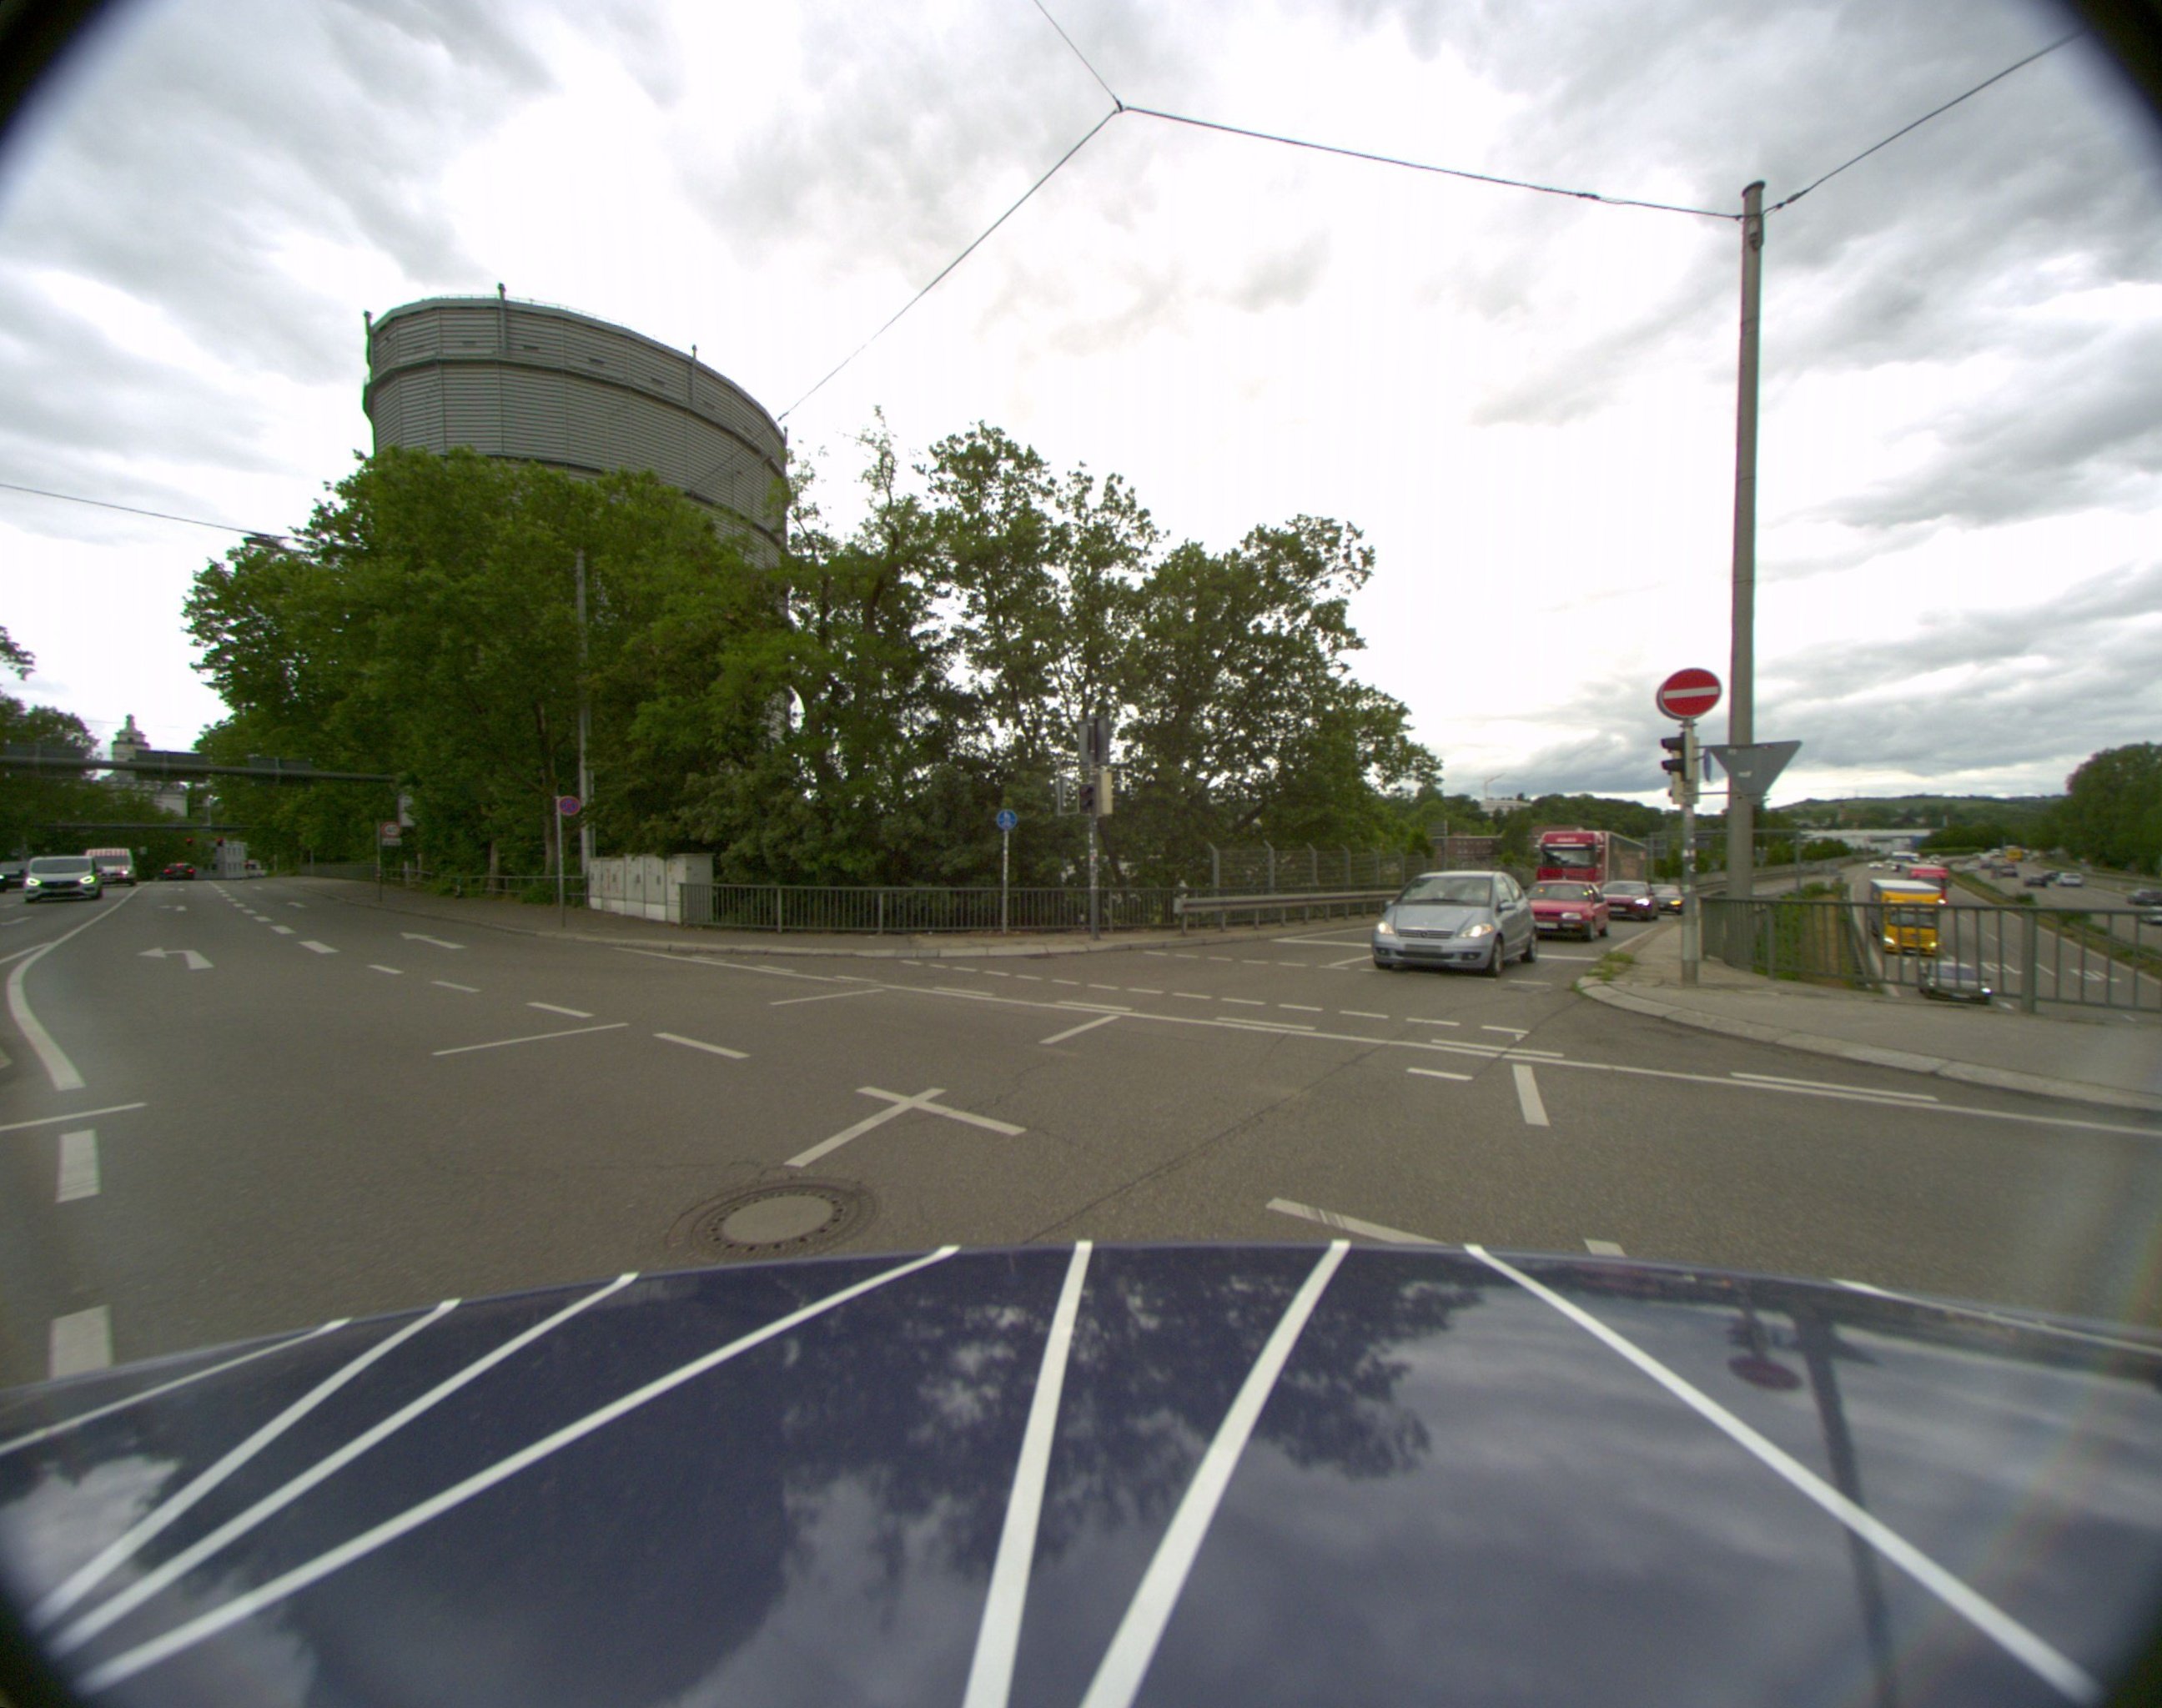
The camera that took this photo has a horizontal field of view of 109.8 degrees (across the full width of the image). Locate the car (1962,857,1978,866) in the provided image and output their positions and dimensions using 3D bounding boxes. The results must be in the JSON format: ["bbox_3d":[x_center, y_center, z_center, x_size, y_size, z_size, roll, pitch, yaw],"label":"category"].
[{"bbox_3d":[191.163,1.583,163.373,3.648,1.707,1.994,0,2,-44],"label":"car"}]

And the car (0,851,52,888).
[{"bbox_3d":[-62.181,0.845,44.234,4.933,1.905,2.338,3,2,40],"label":"car"}]

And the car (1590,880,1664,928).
[{"bbox_3d":[20.756,1.827,28.803,1.692,1.412,4.476,0,1,44],"label":"car"}]

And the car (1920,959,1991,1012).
[{"bbox_3d":[39.999,5.953,34.831,3.848,1.688,1.874,-1,2,-44],"label":"car"}]

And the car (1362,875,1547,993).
[{"bbox_3d":[6.174,1.150,12.365,1.743,1.594,3.691,0,-1,42],"label":"car"}]

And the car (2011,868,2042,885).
[{"bbox_3d":[134.057,3.163,107.767,4.651,2.002,2.218,-1,3,-45],"label":"car"}]

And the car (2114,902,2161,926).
[{"bbox_3d":[89.393,5.030,64.103,4.338,1.609,1.994,0,2,-45],"label":"car"}]

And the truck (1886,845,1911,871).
[{"bbox_3d":[170.244,0.809,158.349,13.965,4.926,3.369,-2,1,-43],"label":"truck"}]

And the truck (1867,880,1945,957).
[{"bbox_3d":[55.263,4.111,51.101,2.893,4.161,10.045,4,4,45],"label":"truck"}]

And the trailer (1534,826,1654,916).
[{"bbox_3d":[29.078,0.998,42.603,3.661,4.295,13.814,0,-2,42],"label":"trailer"}]

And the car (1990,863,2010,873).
[{"bbox_3d":[163.287,2.453,135.005,3.648,1.707,1.994,0,2,-44],"label":"car"}]

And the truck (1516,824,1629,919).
[{"bbox_3d":[24.811,0.880,38.169,3.661,4.295,7.253,0,-2,42],"label":"truck"}]

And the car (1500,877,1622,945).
[{"bbox_3d":[11.759,1.297,18.507,1.743,1.454,3.964,-1,-1,44],"label":"car"}]

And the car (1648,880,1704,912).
[{"bbox_3d":[28.840,1.992,36.791,1.692,1.411,4.478,0,-1,44],"label":"car"}]

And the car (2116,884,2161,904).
[{"bbox_3d":[111.425,4.184,80.004,1.994,1.609,4.337,2,4,42],"label":"car"}]

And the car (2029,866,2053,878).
[{"bbox_3d":[154.197,2.898,122.045,3.490,1.758,1.994,0,2,-44],"label":"car"}]

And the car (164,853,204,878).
[{"bbox_3d":[-85.194,1.088,72.211,3.987,2.004,2.003,3,7,44],"label":"car"}]

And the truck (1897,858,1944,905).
[{"bbox_3d":[89.156,2.768,80.830,13.284,4.332,2.882,-2,2,-44],"label":"truck"}]

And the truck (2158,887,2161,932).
[{"bbox_3d":[80.367,4.300,53.534,3.583,3.437,8.257,4,3,44],"label":"truck"}]

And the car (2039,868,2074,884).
[{"bbox_3d":[140.911,3.201,109.808,4.651,2.002,2.590,-1,3,-44],"label":"car"}]

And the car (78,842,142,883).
[{"bbox_3d":[-62.988,0.542,49.380,4.934,2.509,2.338,0,0,41],"label":"car"}]

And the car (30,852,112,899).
[{"bbox_3d":[-45.476,0.950,34.307,4.440,1.987,1.939,-1,0,40],"label":"car"}]
